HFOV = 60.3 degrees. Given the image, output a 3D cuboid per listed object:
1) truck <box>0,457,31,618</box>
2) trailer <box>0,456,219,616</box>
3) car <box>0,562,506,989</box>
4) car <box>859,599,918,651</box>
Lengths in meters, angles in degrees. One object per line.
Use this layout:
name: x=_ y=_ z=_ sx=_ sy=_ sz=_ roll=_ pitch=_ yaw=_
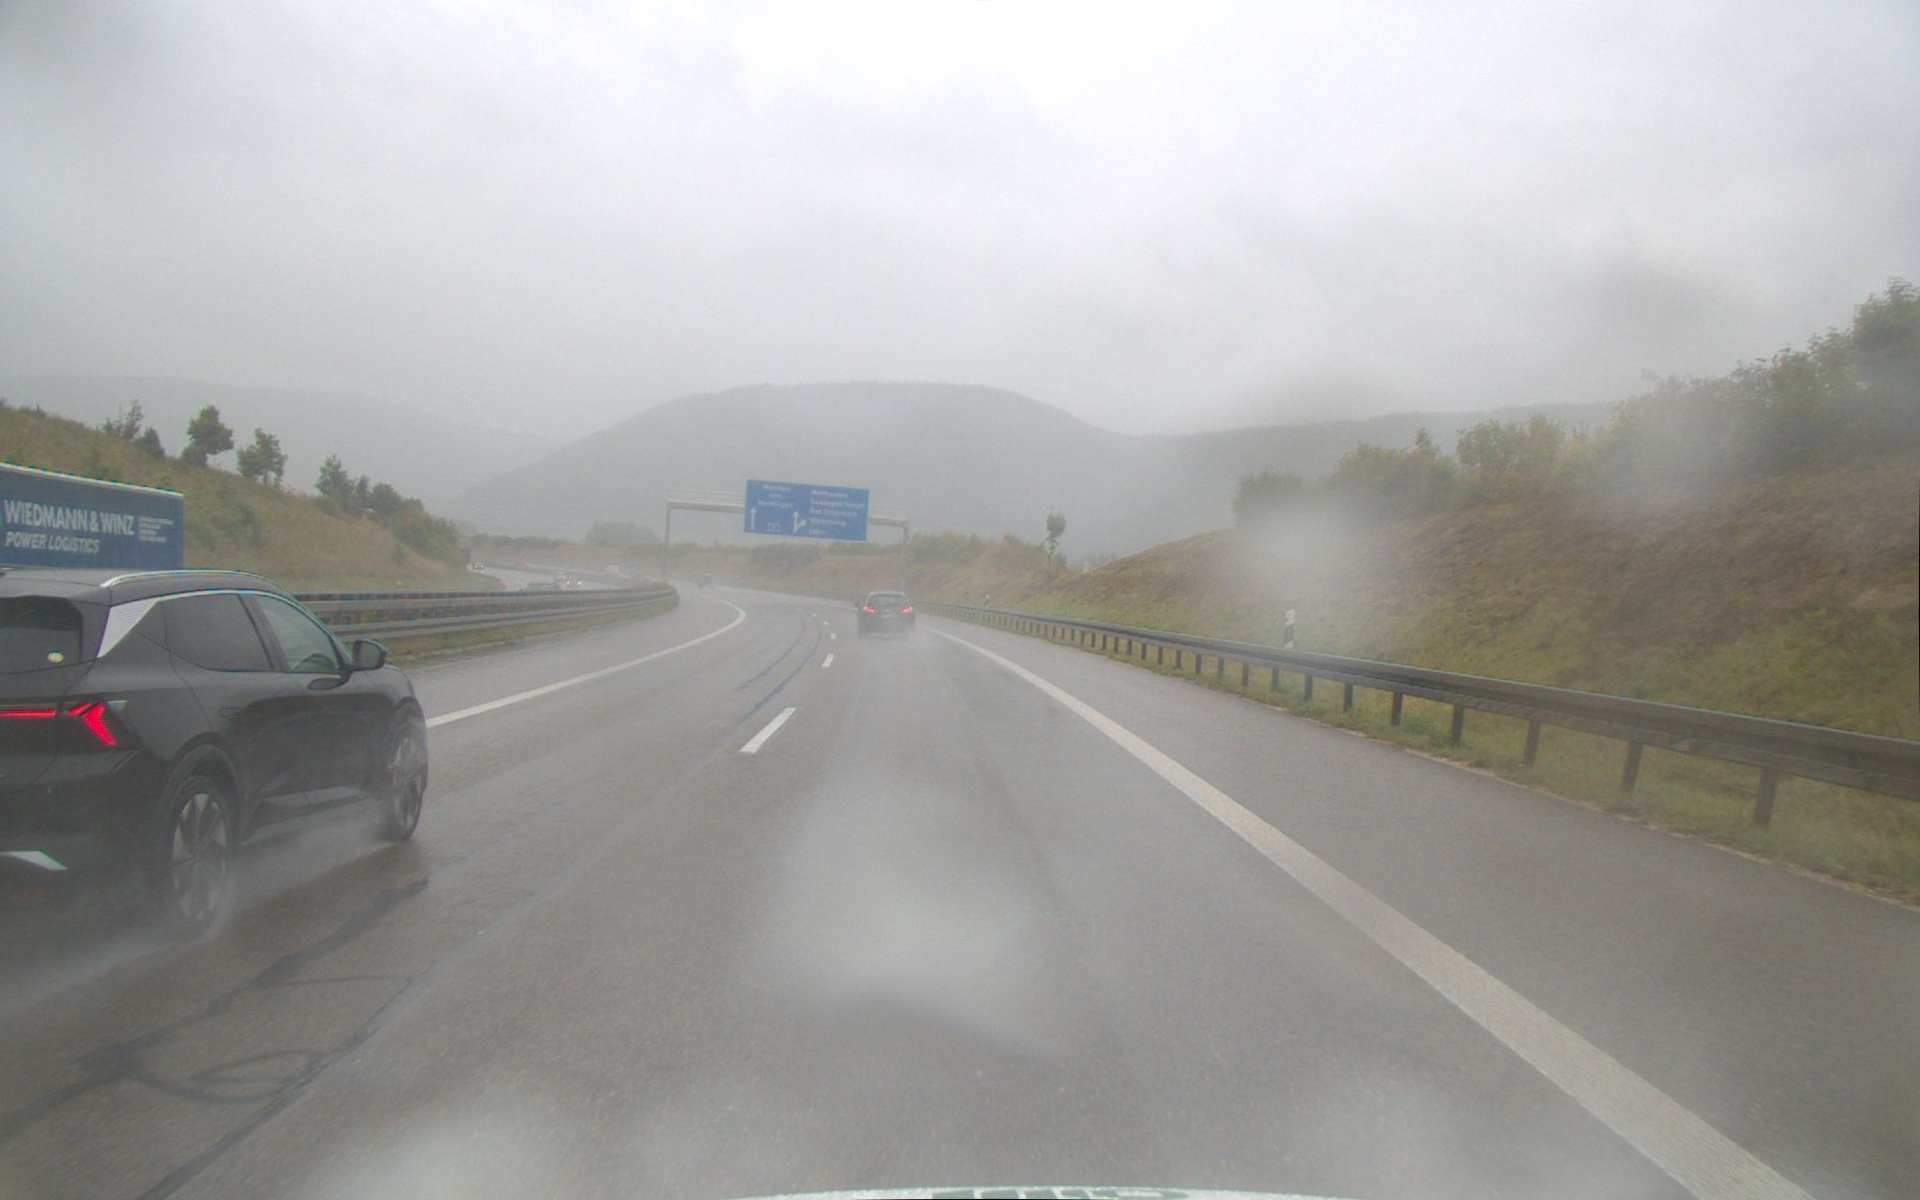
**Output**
truck: x=-23.731 y=-1.470 z=36.907 sx=2.725 sy=3.748 sz=6.203 roll=1 pitch=0 yaw=-3
trailer: x=-24.165 y=-1.554 z=44.921 sx=2.757 sy=3.745 sz=13.238 roll=1 pitch=0 yaw=-3
car: x=-4.090 y=0.609 z=8.398 sx=2.358 sy=1.542 sz=4.782 roll=2 pitch=0 yaw=-2
car: x=-2.215 y=0.760 z=52.008 sx=1.645 sy=1.498 sz=3.814 roll=2 pitch=0 yaw=0
